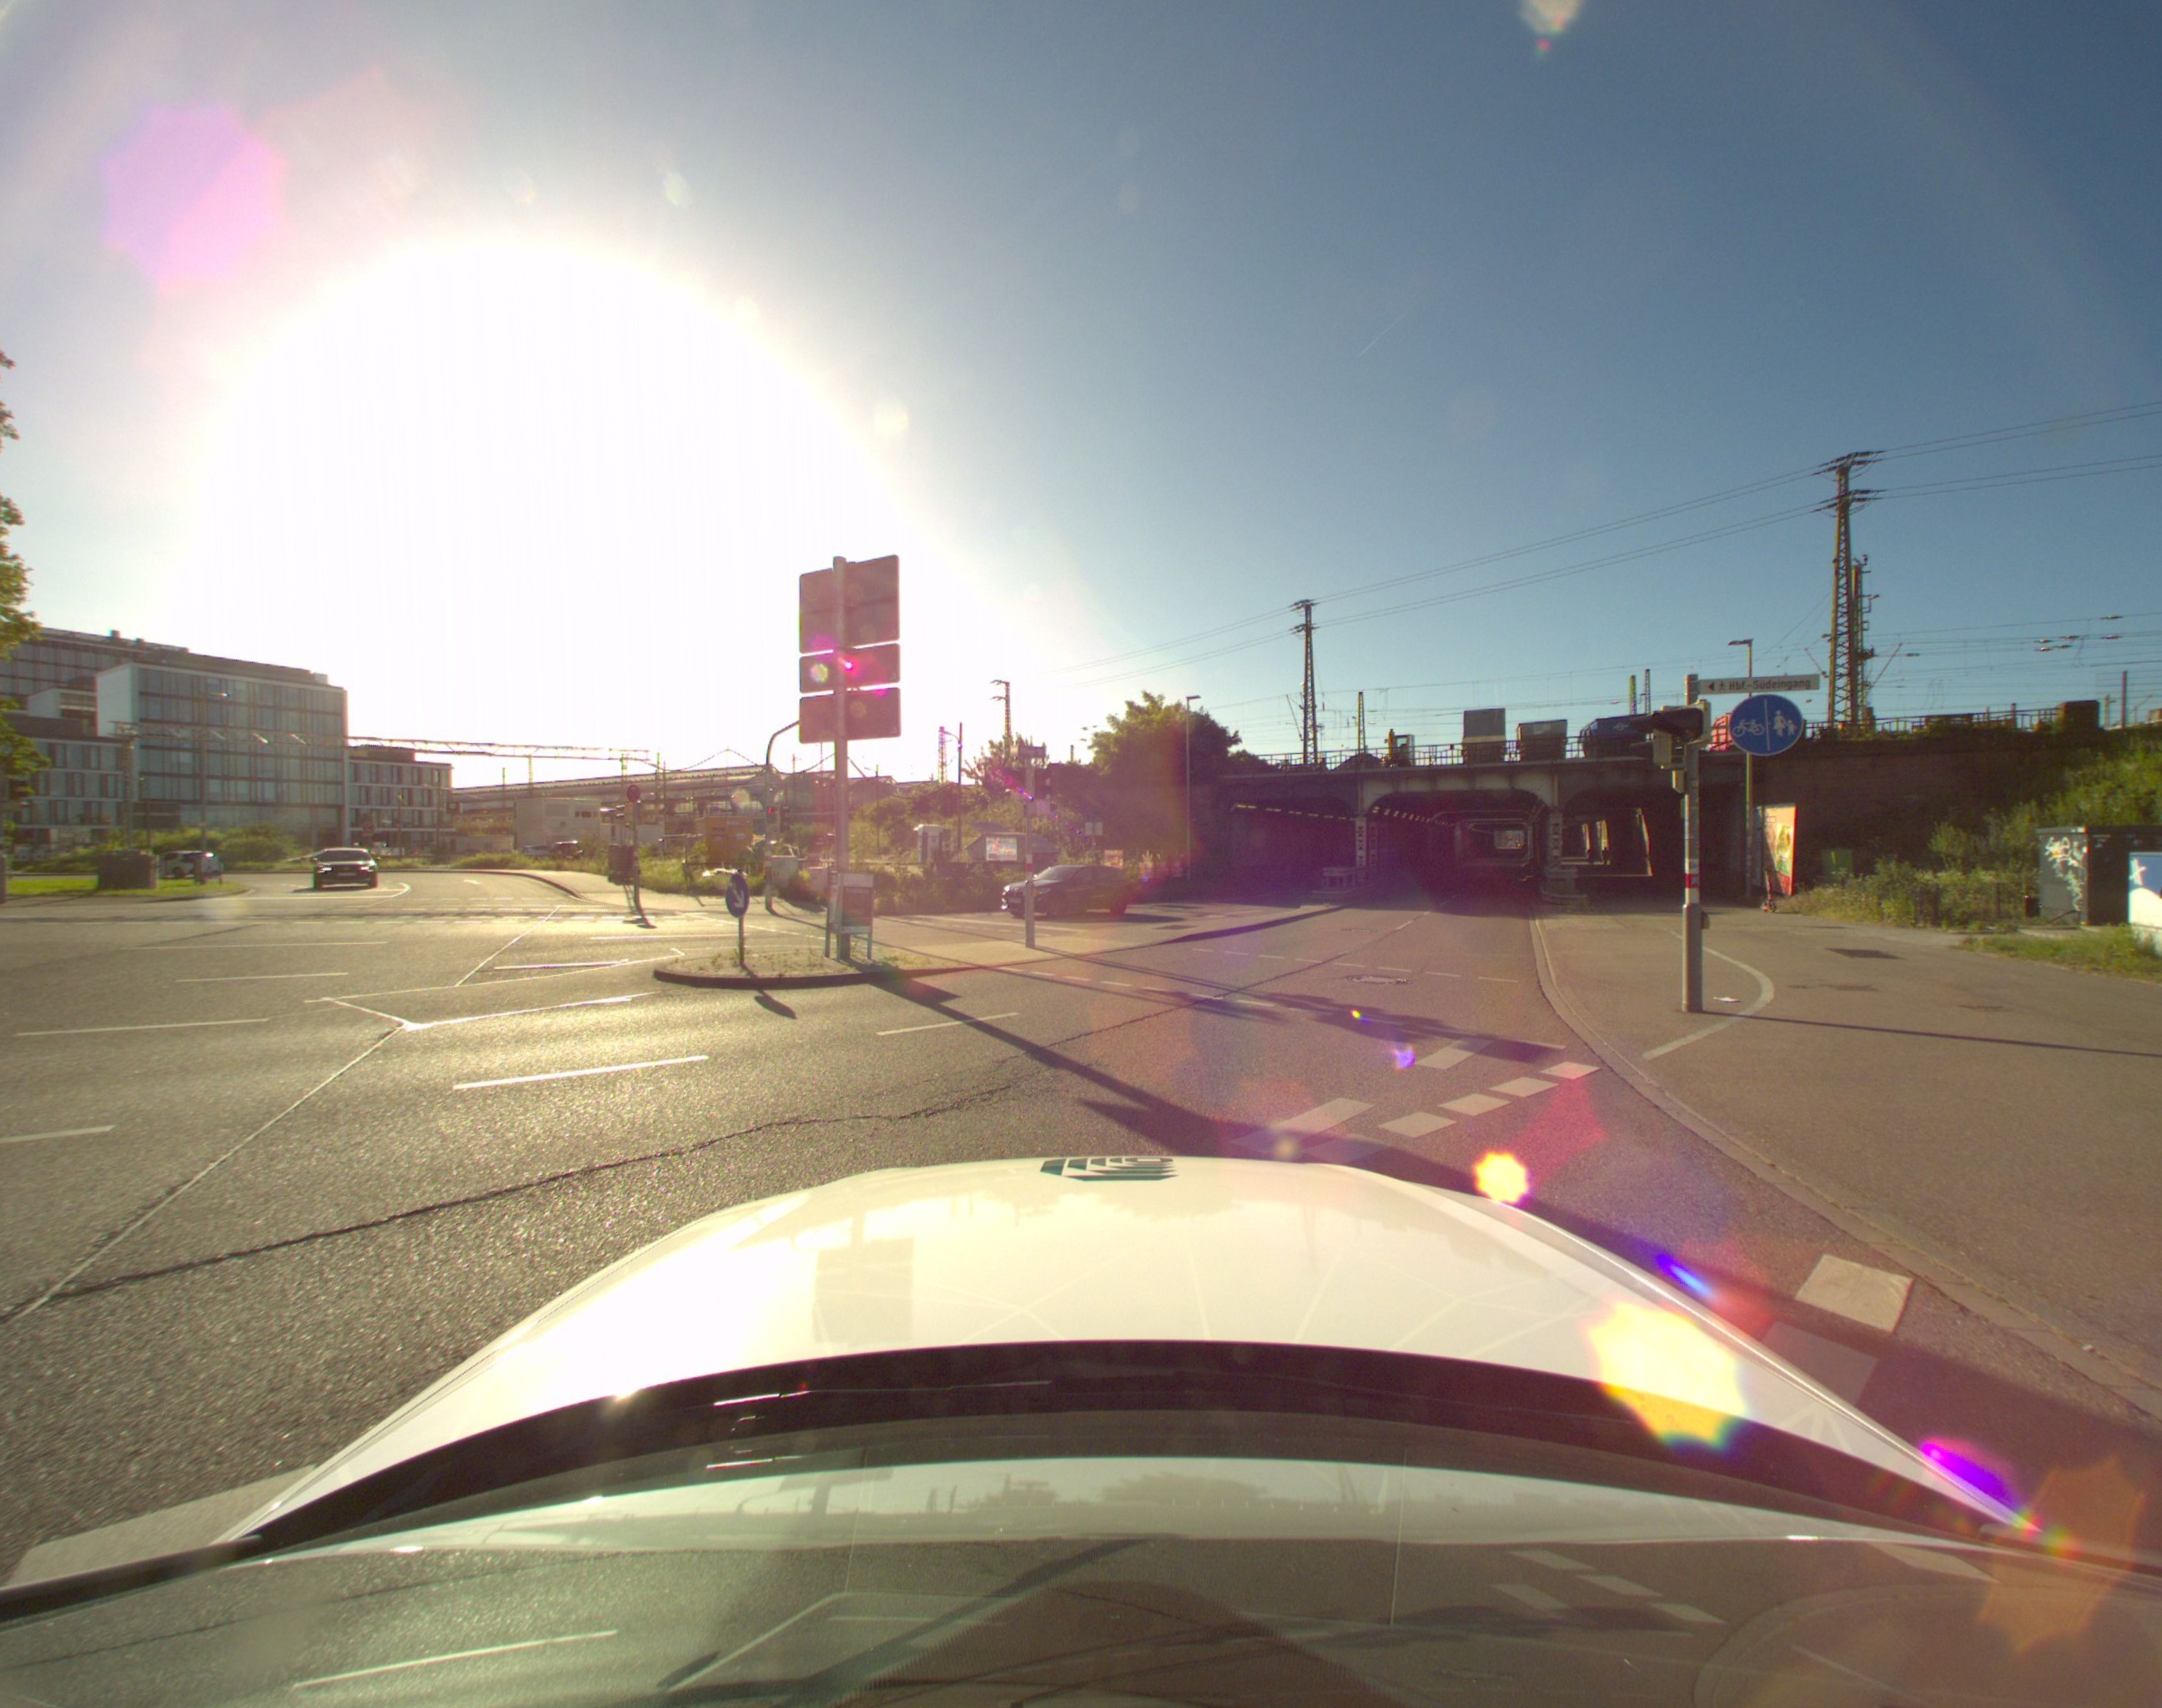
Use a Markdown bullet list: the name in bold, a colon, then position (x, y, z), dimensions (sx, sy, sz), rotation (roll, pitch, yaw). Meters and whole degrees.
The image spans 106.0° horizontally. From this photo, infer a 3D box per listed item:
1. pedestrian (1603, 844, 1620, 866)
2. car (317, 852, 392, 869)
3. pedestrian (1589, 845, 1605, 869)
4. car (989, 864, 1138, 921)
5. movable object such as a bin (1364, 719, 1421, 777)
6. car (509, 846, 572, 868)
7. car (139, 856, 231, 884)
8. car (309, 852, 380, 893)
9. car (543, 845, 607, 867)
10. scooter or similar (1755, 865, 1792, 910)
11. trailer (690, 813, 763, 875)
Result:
- **pedestrian**: position (42.537, 0.067, 65.298), dimensions (0.908, 1.656, 0.891), rotation (-3, -1, 25)
- **car**: position (-79.092, 0.698, 88.756), dimensions (1.894, 1.845, 5.755), rotation (1, 0, 24)
- **pedestrian**: position (41.780, 0.235, 65.928), dimensions (0.872, 1.835, 0.928), rotation (-3, -1, 25)
- **car**: position (-0.431, 1.065, 24.272), dimensions (1.932, 1.518, 4.413), rotation (-1, -1, 42)
- **movable object such as a bin**: position (15.775, -5.246, 41.064), dimensions (1.975, 2.226, 4.860), rotation (0, -1, 30)
- **car**: position (-44.413, 0.273, 67.001), dimensions (1.634, 1.788, 4.025), rotation (0, -1, 38)
- **car**: position (-50.634, 0.900, 46.034), dimensions (3.959, 1.476, 1.760), rotation (0, 0, 13)
- **car**: position (-28.752, 0.685, 31.893), dimensions (1.762, 1.476, 3.955), rotation (0, 0, -38)
- **car**: position (-40.663, 0.211, 65.540), dimensions (1.595, 1.705, 4.025), rotation (0, -1, 38)
- **scooter or similar**: position (18.909, 0.894, 22.263), dimensions (0.532, 1.197, 1.299), rotation (0, 0, 29)
- **trailer**: position (-20.428, -0.518, 46.708), dimensions (3.015, 3.292, 6.603), rotation (1, -1, -31)
